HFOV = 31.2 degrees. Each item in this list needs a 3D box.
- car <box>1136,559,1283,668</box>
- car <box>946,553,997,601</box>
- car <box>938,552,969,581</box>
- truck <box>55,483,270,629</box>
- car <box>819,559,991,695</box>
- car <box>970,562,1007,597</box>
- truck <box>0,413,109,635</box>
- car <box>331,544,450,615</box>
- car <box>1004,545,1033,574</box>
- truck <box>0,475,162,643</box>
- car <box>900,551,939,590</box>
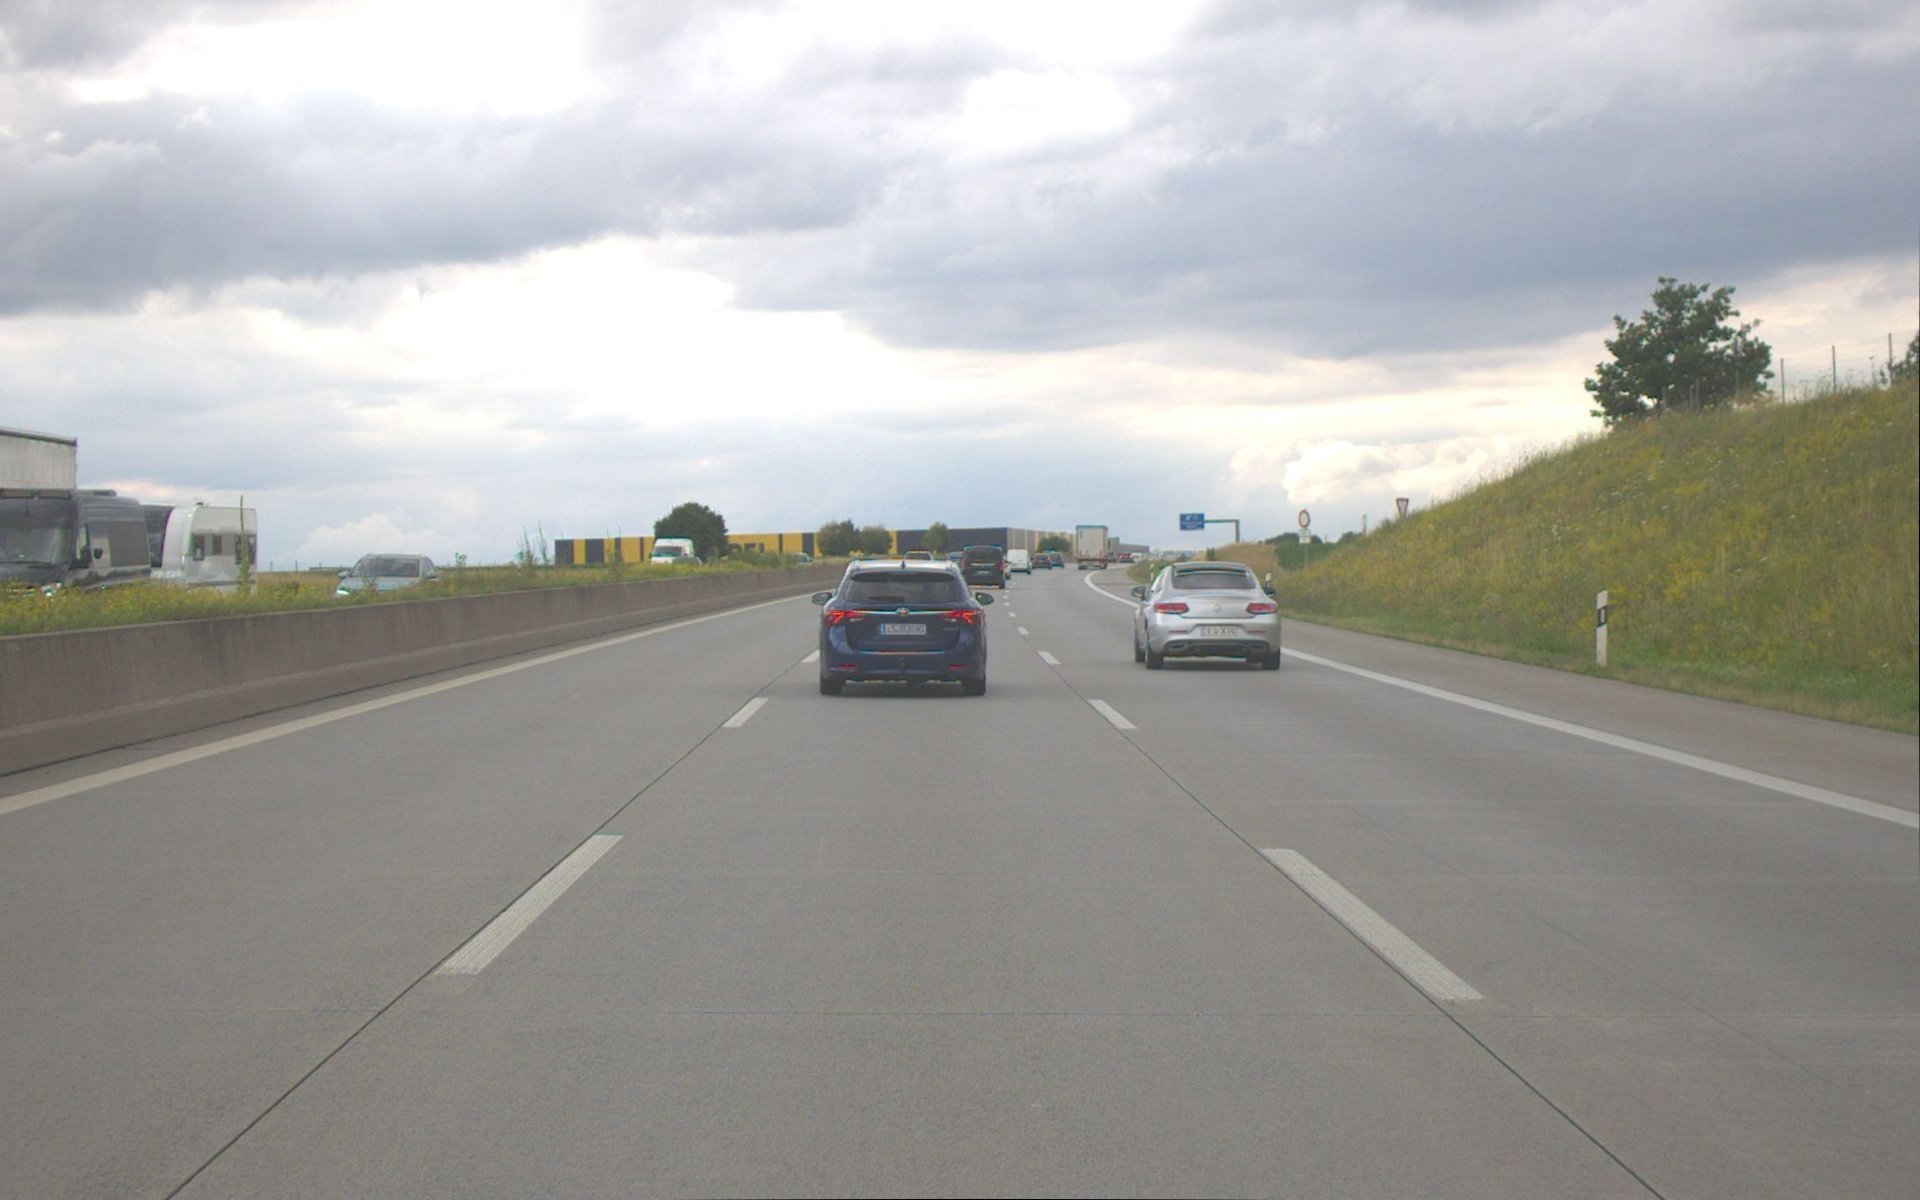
[{"bbox_3d":[3.342,0.162,46.730,1.789,1.399,4.221,0,0,1],"label":"car"},{"bbox_3d":[0.494,-0.995,149.971,1.993,2.007,4.000,1,0,-3],"label":"car"},{"bbox_3d":[-0.484,-2.359,243.703,1.993,2.007,4.000,1,0,-3],"label":"car"},{"bbox_3d":[-15.688,-0.872,68.085,2.615,2.716,6.920,1,1,0],"label":"truck"},{"bbox_3d":[-0.581,0.264,37.584,1.774,1.408,4.000,0,0,0],"label":"car"},{"bbox_3d":[1.689,-1.244,203.514,1.994,2.007,4.000,1,1,3],"label":"car"},{"bbox_3d":[-19.755,-1.470,66.309,2.841,4.241,14.566,1,0,1],"label":"truck"},{"bbox_3d":[-12.219,-0.455,74.014,1.993,1.476,4.213,0,1,-2],"label":"car"},{"bbox_3d":[4.239,-2.948,249.597,1.993,2.007,4.000,1,0,2],"label":"car"},{"bbox_3d":[-15.707,-0.725,59.417,2.251,2.716,7.127,1,1,-1],"label":"truck"},{"bbox_3d":[-2.196,-1.587,185.792,2.046,2.007,4.000,1,0,-1],"label":"car"}]
